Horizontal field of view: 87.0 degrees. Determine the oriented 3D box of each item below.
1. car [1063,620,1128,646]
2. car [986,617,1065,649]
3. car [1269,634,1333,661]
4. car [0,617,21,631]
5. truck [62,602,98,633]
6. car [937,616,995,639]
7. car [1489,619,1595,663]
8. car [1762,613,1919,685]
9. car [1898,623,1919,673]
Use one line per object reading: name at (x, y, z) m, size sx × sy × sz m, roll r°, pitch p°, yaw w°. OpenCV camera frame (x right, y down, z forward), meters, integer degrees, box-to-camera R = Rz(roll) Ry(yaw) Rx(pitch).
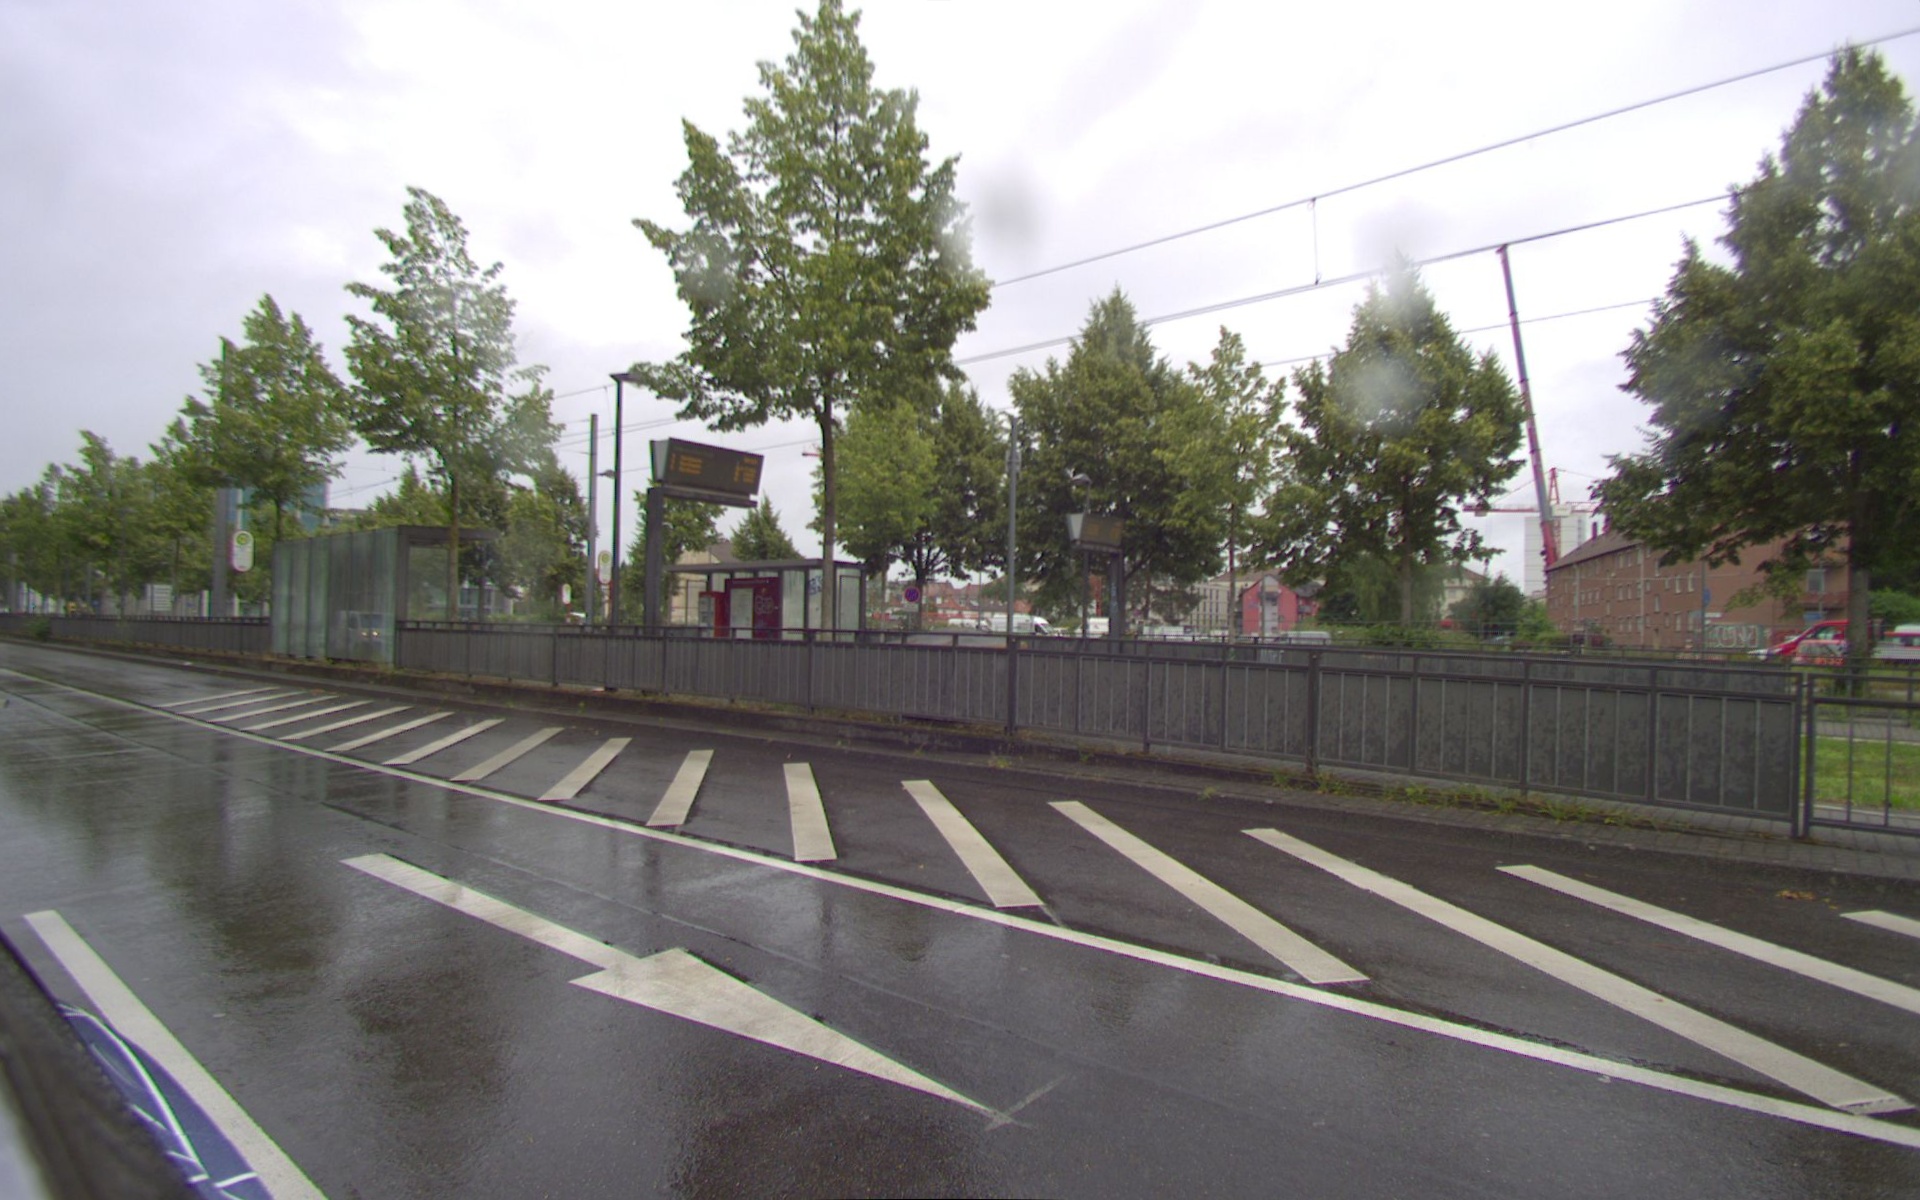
car at (11.873, 2.874, 88.787) m, size 5.412 × 2.067 × 1.976 m, roll 0°, pitch 0°, yaw 37°
car at (5.512, 2.729, 85.735) m, size 6.735 × 2.480 × 1.975 m, roll 0°, pitch 0°, yaw 37°
car at (26.218, 3.629, 77.845) m, size 4.415 × 1.891 × 1.855 m, roll 0°, pitch 0°, yaw 34°
car at (-140.292, 3.611, 149.481) m, size 3.996 × 2.029 × 1.739 m, roll -1°, pitch -2°, yaw 39°
truck at (-114.947, 2.224, 132.176) m, size 9.184 × 3.806 × 2.657 m, roll 0°, pitch 0°, yaw 43°
car at (0.603, 2.959, 108.322) m, size 6.123 × 2.323 × 1.978 m, roll 0°, pitch 0°, yaw 32°
car at (35.885, 2.479, 62.466) m, size 5.482 × 2.471 × 1.976 m, roll 0°, pitch 0°, yaw 36°
car at (33.432, 1.754, 36.794) m, size 1.597 × 2.489 × 6.500 m, roll 2°, pitch -2°, yaw -39°
car at (45.976, 2.151, 44.925) m, size 1.597 × 2.296 × 6.114 m, roll 2°, pitch -3°, yaw -37°
